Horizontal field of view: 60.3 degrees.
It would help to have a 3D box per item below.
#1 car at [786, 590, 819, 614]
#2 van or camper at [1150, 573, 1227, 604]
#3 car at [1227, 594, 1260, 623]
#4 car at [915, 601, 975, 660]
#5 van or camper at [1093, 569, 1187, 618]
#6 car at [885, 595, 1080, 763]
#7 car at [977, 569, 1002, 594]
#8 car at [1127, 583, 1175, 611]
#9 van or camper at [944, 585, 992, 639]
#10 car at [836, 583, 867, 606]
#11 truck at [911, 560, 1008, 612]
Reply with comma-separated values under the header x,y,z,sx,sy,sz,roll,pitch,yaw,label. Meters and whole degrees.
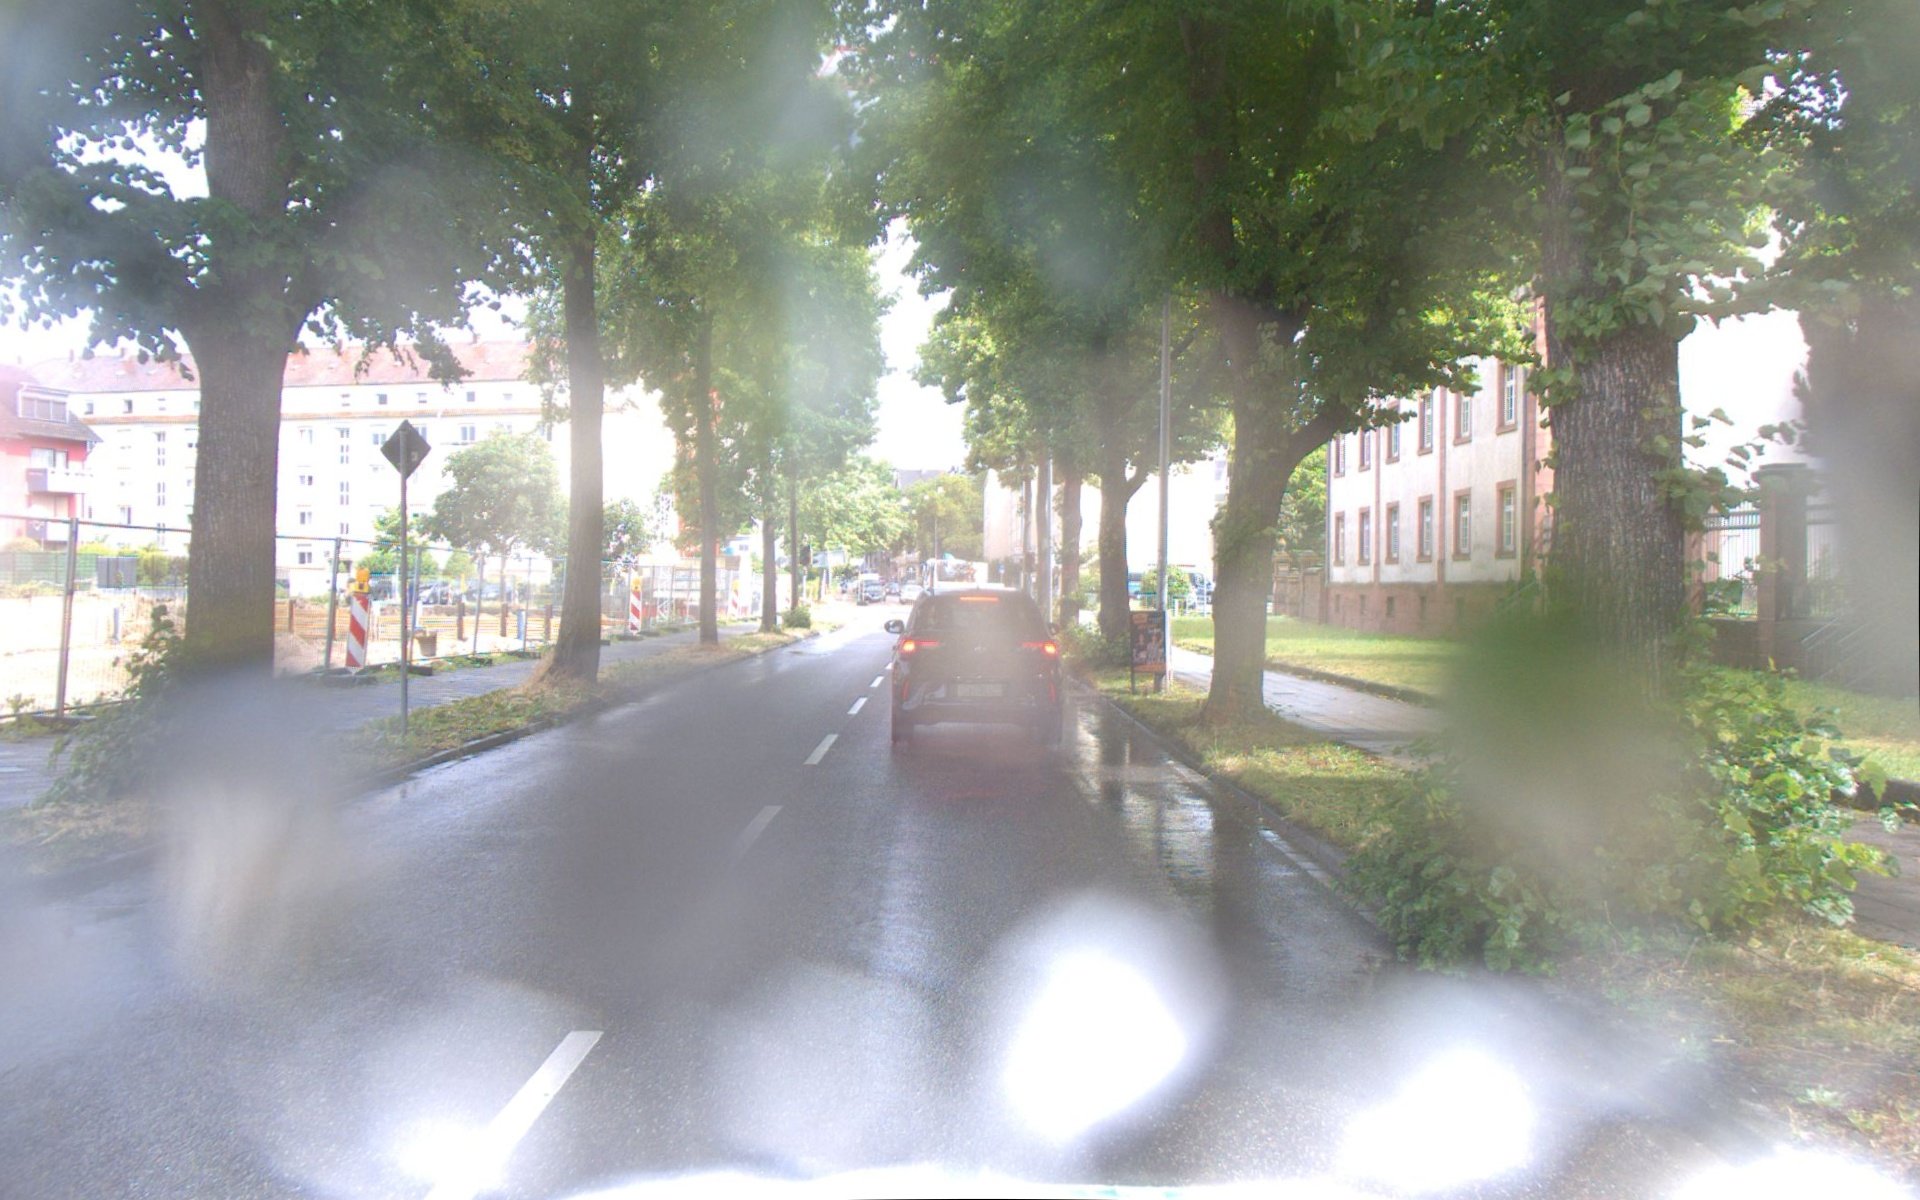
x,y,z,sx,sy,sz,roll,pitch,yaw,label
-11.051,0.102,116.201,1.557,1.538,3.734,-3,1,6,car
15.149,-0.794,109.791,4.774,1.959,2.131,1,1,0,van or camper
18.141,0.507,105.962,1.706,1.713,3.873,-3,0,6,car
-0.446,0.955,53.429,1.644,1.738,3.911,-2,0,3,car
10.041,-0.383,92.488,4.931,2.641,2.167,-1,0,-2,van or camper
0.194,0.751,17.810,1.856,1.549,4.000,1,1,-1,car
2.446,-1.539,138.121,1.952,2.049,4.000,-1,0,0,car
13.837,-0.198,119.657,3.334,1.812,1.761,-3,0,9,car
0.344,0.430,63.945,1.782,1.981,4.196,1,1,1,van or camper
-7.732,-0.410,118.411,1.557,1.538,3.734,-3,1,6,car
-0.119,-0.832,91.730,2.764,2.703,8.193,0,1,-20,truck
